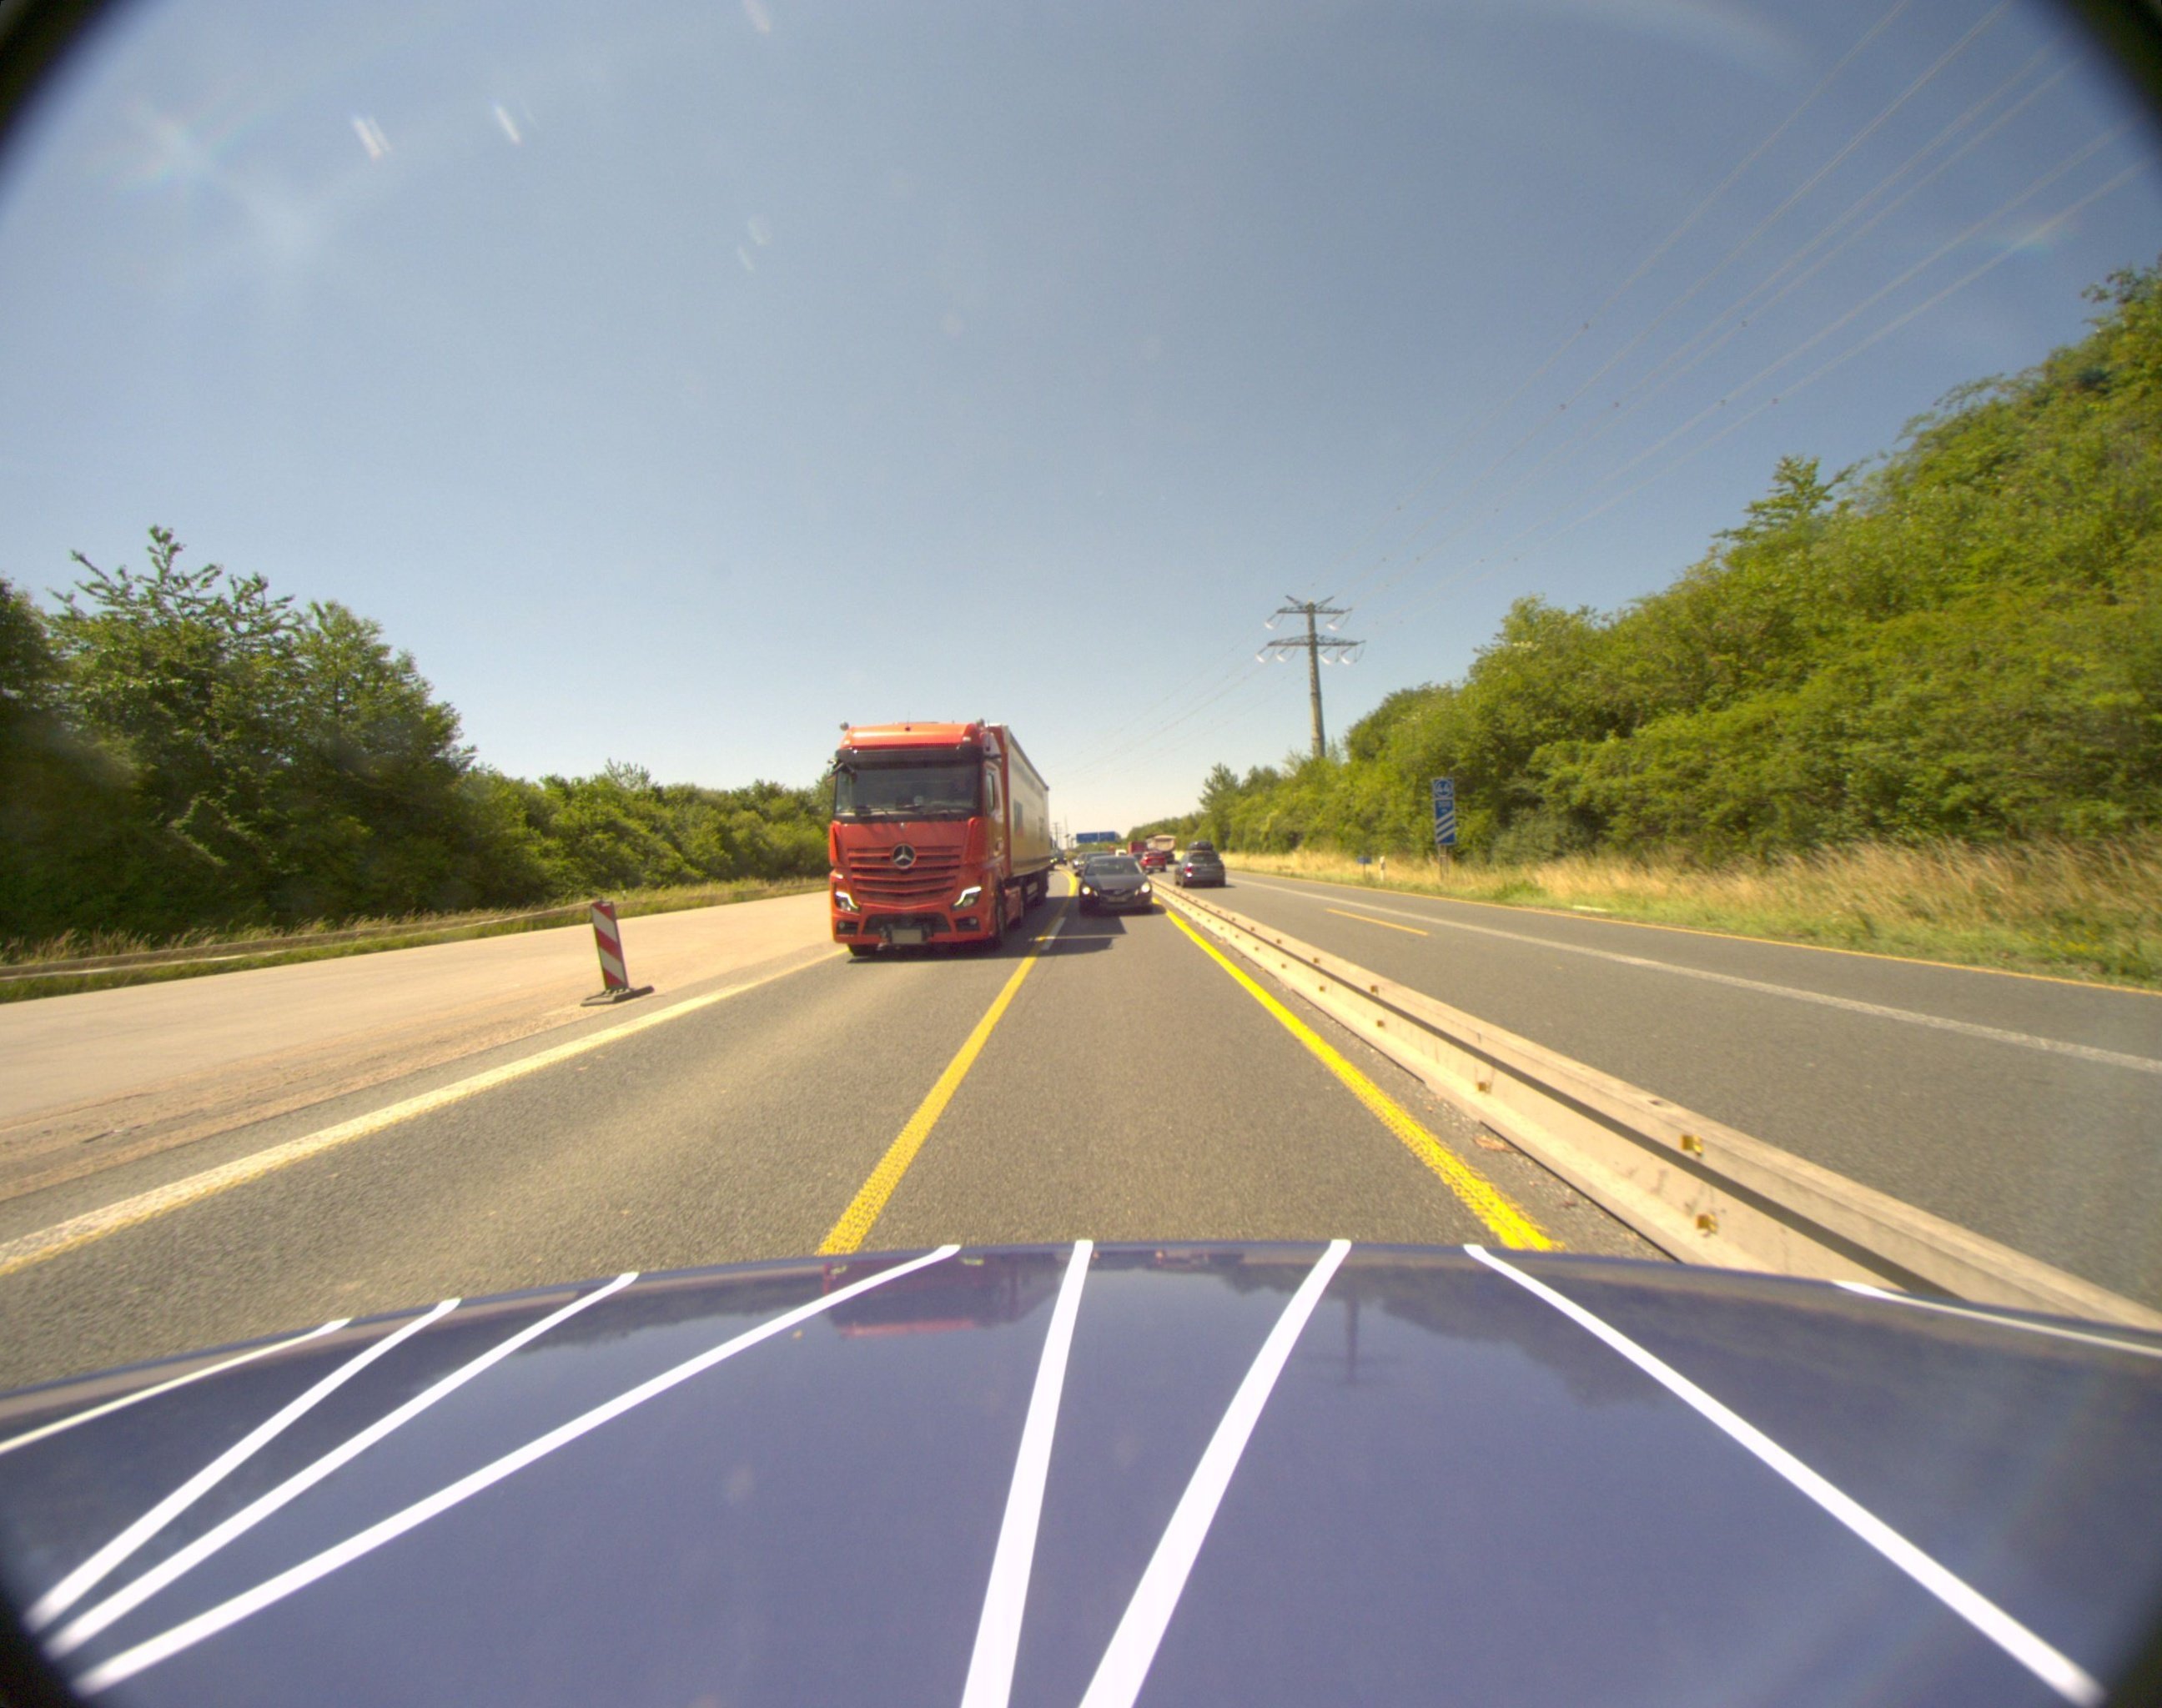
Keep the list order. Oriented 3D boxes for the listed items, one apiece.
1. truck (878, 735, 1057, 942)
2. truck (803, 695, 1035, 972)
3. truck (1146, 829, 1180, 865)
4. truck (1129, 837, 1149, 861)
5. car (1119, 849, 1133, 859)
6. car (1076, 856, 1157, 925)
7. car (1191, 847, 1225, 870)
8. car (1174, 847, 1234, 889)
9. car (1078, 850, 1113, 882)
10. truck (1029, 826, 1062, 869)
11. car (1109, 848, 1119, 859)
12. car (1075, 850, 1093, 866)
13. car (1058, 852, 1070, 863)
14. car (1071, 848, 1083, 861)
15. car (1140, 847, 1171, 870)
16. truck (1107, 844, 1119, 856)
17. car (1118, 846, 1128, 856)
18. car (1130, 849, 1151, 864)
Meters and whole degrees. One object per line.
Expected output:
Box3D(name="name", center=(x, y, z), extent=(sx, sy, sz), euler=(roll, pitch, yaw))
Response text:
Box3D(name="truck", center=(-2.440, -0.390, 21.575), extent=(2.689, 3.987, 13.217), euler=(-2, 1, 1))
Box3D(name="truck", center=(-2.598, -0.309, 14.581), extent=(2.689, 3.987, 6.725), euler=(-2, 0, 1))
Box3D(name="truck", center=(9.517, -0.861, 89.269), extent=(2.942, 3.754, 11.379), euler=(-4, 0, 2))
Box3D(name="truck", center=(10.072, -0.854, 132.991), extent=(2.810, 3.754, 11.378), euler=(-4, 0, 1))
Box3D(name="car", center=(6.848, -0.055, 115.320), extent=(1.855, 1.413, 4.348), euler=(-2, 1, 1))
Box3D(name="car", center=(0.865, 0.823, 19.412), extent=(1.767, 1.411, 4.699), euler=(-2, 1, 2))
Box3D(name="car", center=(8.489, 0.301, 51.166), extent=(1.685, 1.413, 3.642), euler=(-2, 1, 1))
Box3D(name="car", center=(5.015, 0.520, 31.550), extent=(1.904, 1.507, 4.276), euler=(-2, 1, 2))
Box3D(name="car", center=(0.824, 0.597, 41.679), extent=(1.767, 1.523, 4.699), euler=(-2, 1, 2))
Box3D(name="truck", center=(-3.554, -0.695, 79.201), extent=(2.481, 4.030, 13.109), euler=(-2, 0, 1))
Box3D(name="car", center=(6.572, -0.175, 151.237), extent=(1.855, 2.044, 4.348), euler=(-2, 1, 1))
Box3D(name="car", center=(0.300, 0.408, 79.279), extent=(1.767, 1.523, 4.698), euler=(-2, 1, 0))
Box3D(name="car", center=(-2.499, 0.513, 111.859), extent=(1.767, 1.523, 4.698), euler=(-2, 1, -1))
Box3D(name="car", center=(-0.681, 0.069, 129.129), extent=(1.855, 2.044, 4.348), euler=(-2, 1, 1))
Box3D(name="car", center=(5.480, 0.297, 56.372), extent=(1.904, 1.580, 4.276), euler=(-2, 1, 2))
Box3D(name="truck", center=(9.135, -1.216, 218.447), extent=(2.810, 3.317, 11.378), euler=(-4, 0, 1))
Box3D(name="car", center=(8.583, -0.624, 156.316), extent=(1.855, 2.044, 4.348), euler=(-2, 1, 1))
Box3D(name="car", center=(6.049, 0.217, 77.576), extent=(1.855, 1.413, 4.348), euler=(-2, 1, 1))
